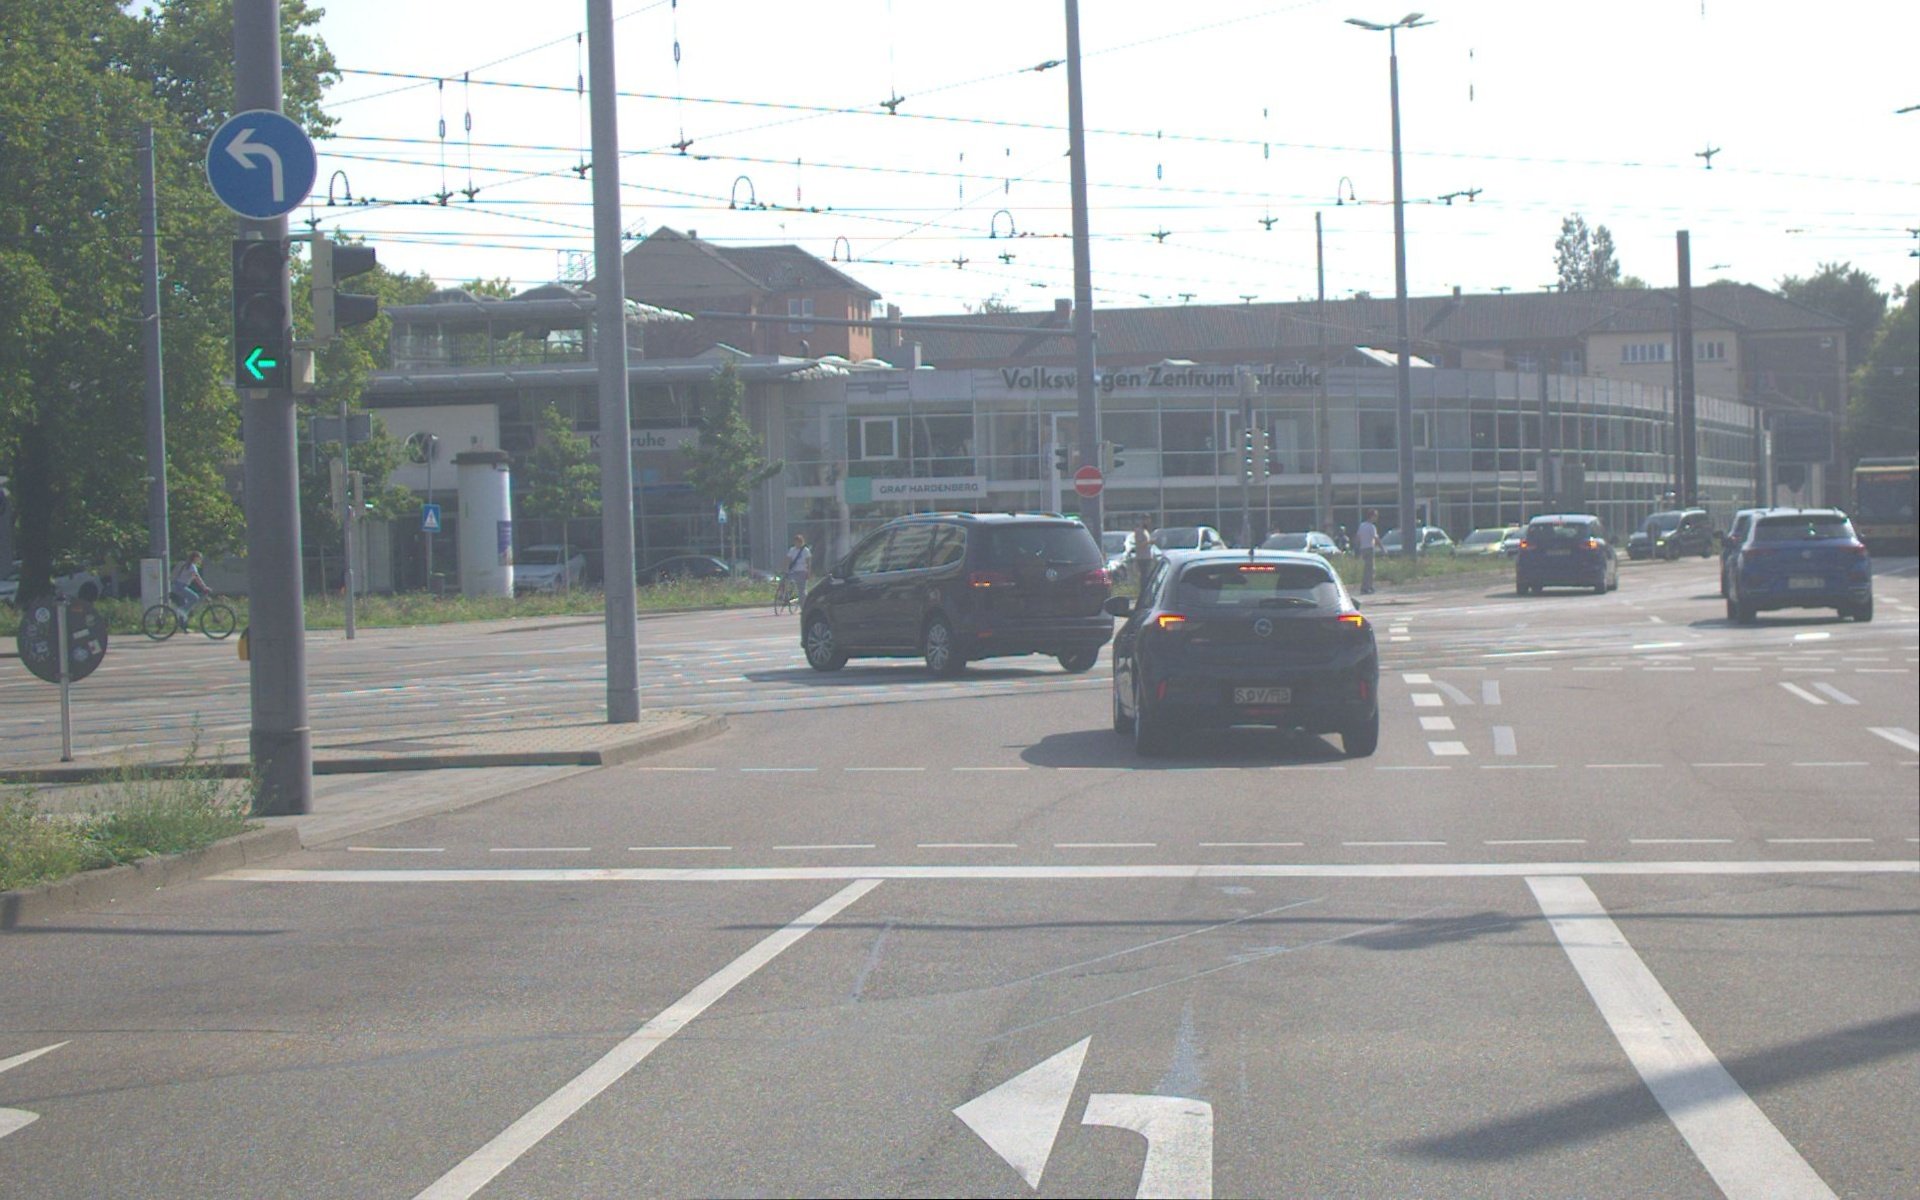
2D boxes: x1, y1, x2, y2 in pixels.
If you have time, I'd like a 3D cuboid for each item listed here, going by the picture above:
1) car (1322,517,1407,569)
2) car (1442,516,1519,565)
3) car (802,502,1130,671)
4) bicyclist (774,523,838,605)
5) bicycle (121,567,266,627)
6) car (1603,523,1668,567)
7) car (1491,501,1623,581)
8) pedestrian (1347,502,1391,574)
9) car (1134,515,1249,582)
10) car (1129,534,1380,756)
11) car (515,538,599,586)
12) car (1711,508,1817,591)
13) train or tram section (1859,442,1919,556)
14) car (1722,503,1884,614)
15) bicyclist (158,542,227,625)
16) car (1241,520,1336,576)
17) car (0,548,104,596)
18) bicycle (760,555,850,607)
[{"bbox_3d":[12.357,-1.744,104.823,1.616,1.470,3.996,-3,0,21],"label":"car"},{"bbox_3d":[16.925,-1.941,111.662,1.616,1.470,3.996,-3,0,21],"label":"car"},{"bbox_3d":[-0.009,-0.187,37.685,1.825,1.708,4.413,-2,2,-26],"label":"car"},{"bbox_3d":[-3.307,-0.774,73.762,0.958,1.742,1.165,-1,1,21],"label":"bicyclist"},{"bbox_3d":[-14.432,-0.067,64.827,2.599,1.053,0.961,-2,1,-10],"label":"bicycle"},{"bbox_3d":[24.548,-1.993,124.892,1.616,1.470,3.996,-3,0,21],"label":"car"},{"bbox_3d":[12.258,-1.230,70.385,1.827,1.530,4.408,-1,1,21],"label":"car"},{"bbox_3d":[8.672,-1.311,72.873,0.778,1.498,0.710,-1,1,17],"label":"pedestrian"},{"bbox_3d":[5.485,-1.234,81.123,1.616,1.470,3.996,-3,0,20],"label":"car"},{"bbox_3d":[2.126,0.264,25.656,1.683,1.486,4.372,1,1,3],"label":"car"},{"bbox_3d":[-13.257,-1.262,113.213,1.700,1.517,4.098,-1,1,9],"label":"car"},{"bbox_3d":[14.934,-0.966,64.021,1.826,1.423,4.410,-1,1,12],"label":"car"},{"bbox_3d":[32.682,-3.475,117.702,2.657,3.686,10.579,-1,1,20],"label":"train or tram section"},{"bbox_3d":[11.637,-0.605,47.674,1.826,1.423,4.411,-1,1,10],"label":"car"},{"bbox_3d":[-14.466,-0.318,64.813,1.162,1.522,0.961,-2,1,-10],"label":"bicyclist"},{"bbox_3d":[9.362,-1.497,97.769,1.616,1.470,3.996,-3,0,21],"label":"car"},{"bbox_3d":[-31.209,-0.958,115.938,1.703,1.517,4.506,0,1,36],"label":"car"},{"bbox_3d":[-3.315,-0.415,73.737,0.958,1.053,2.605,-1,1,21],"label":"bicycle"}]
